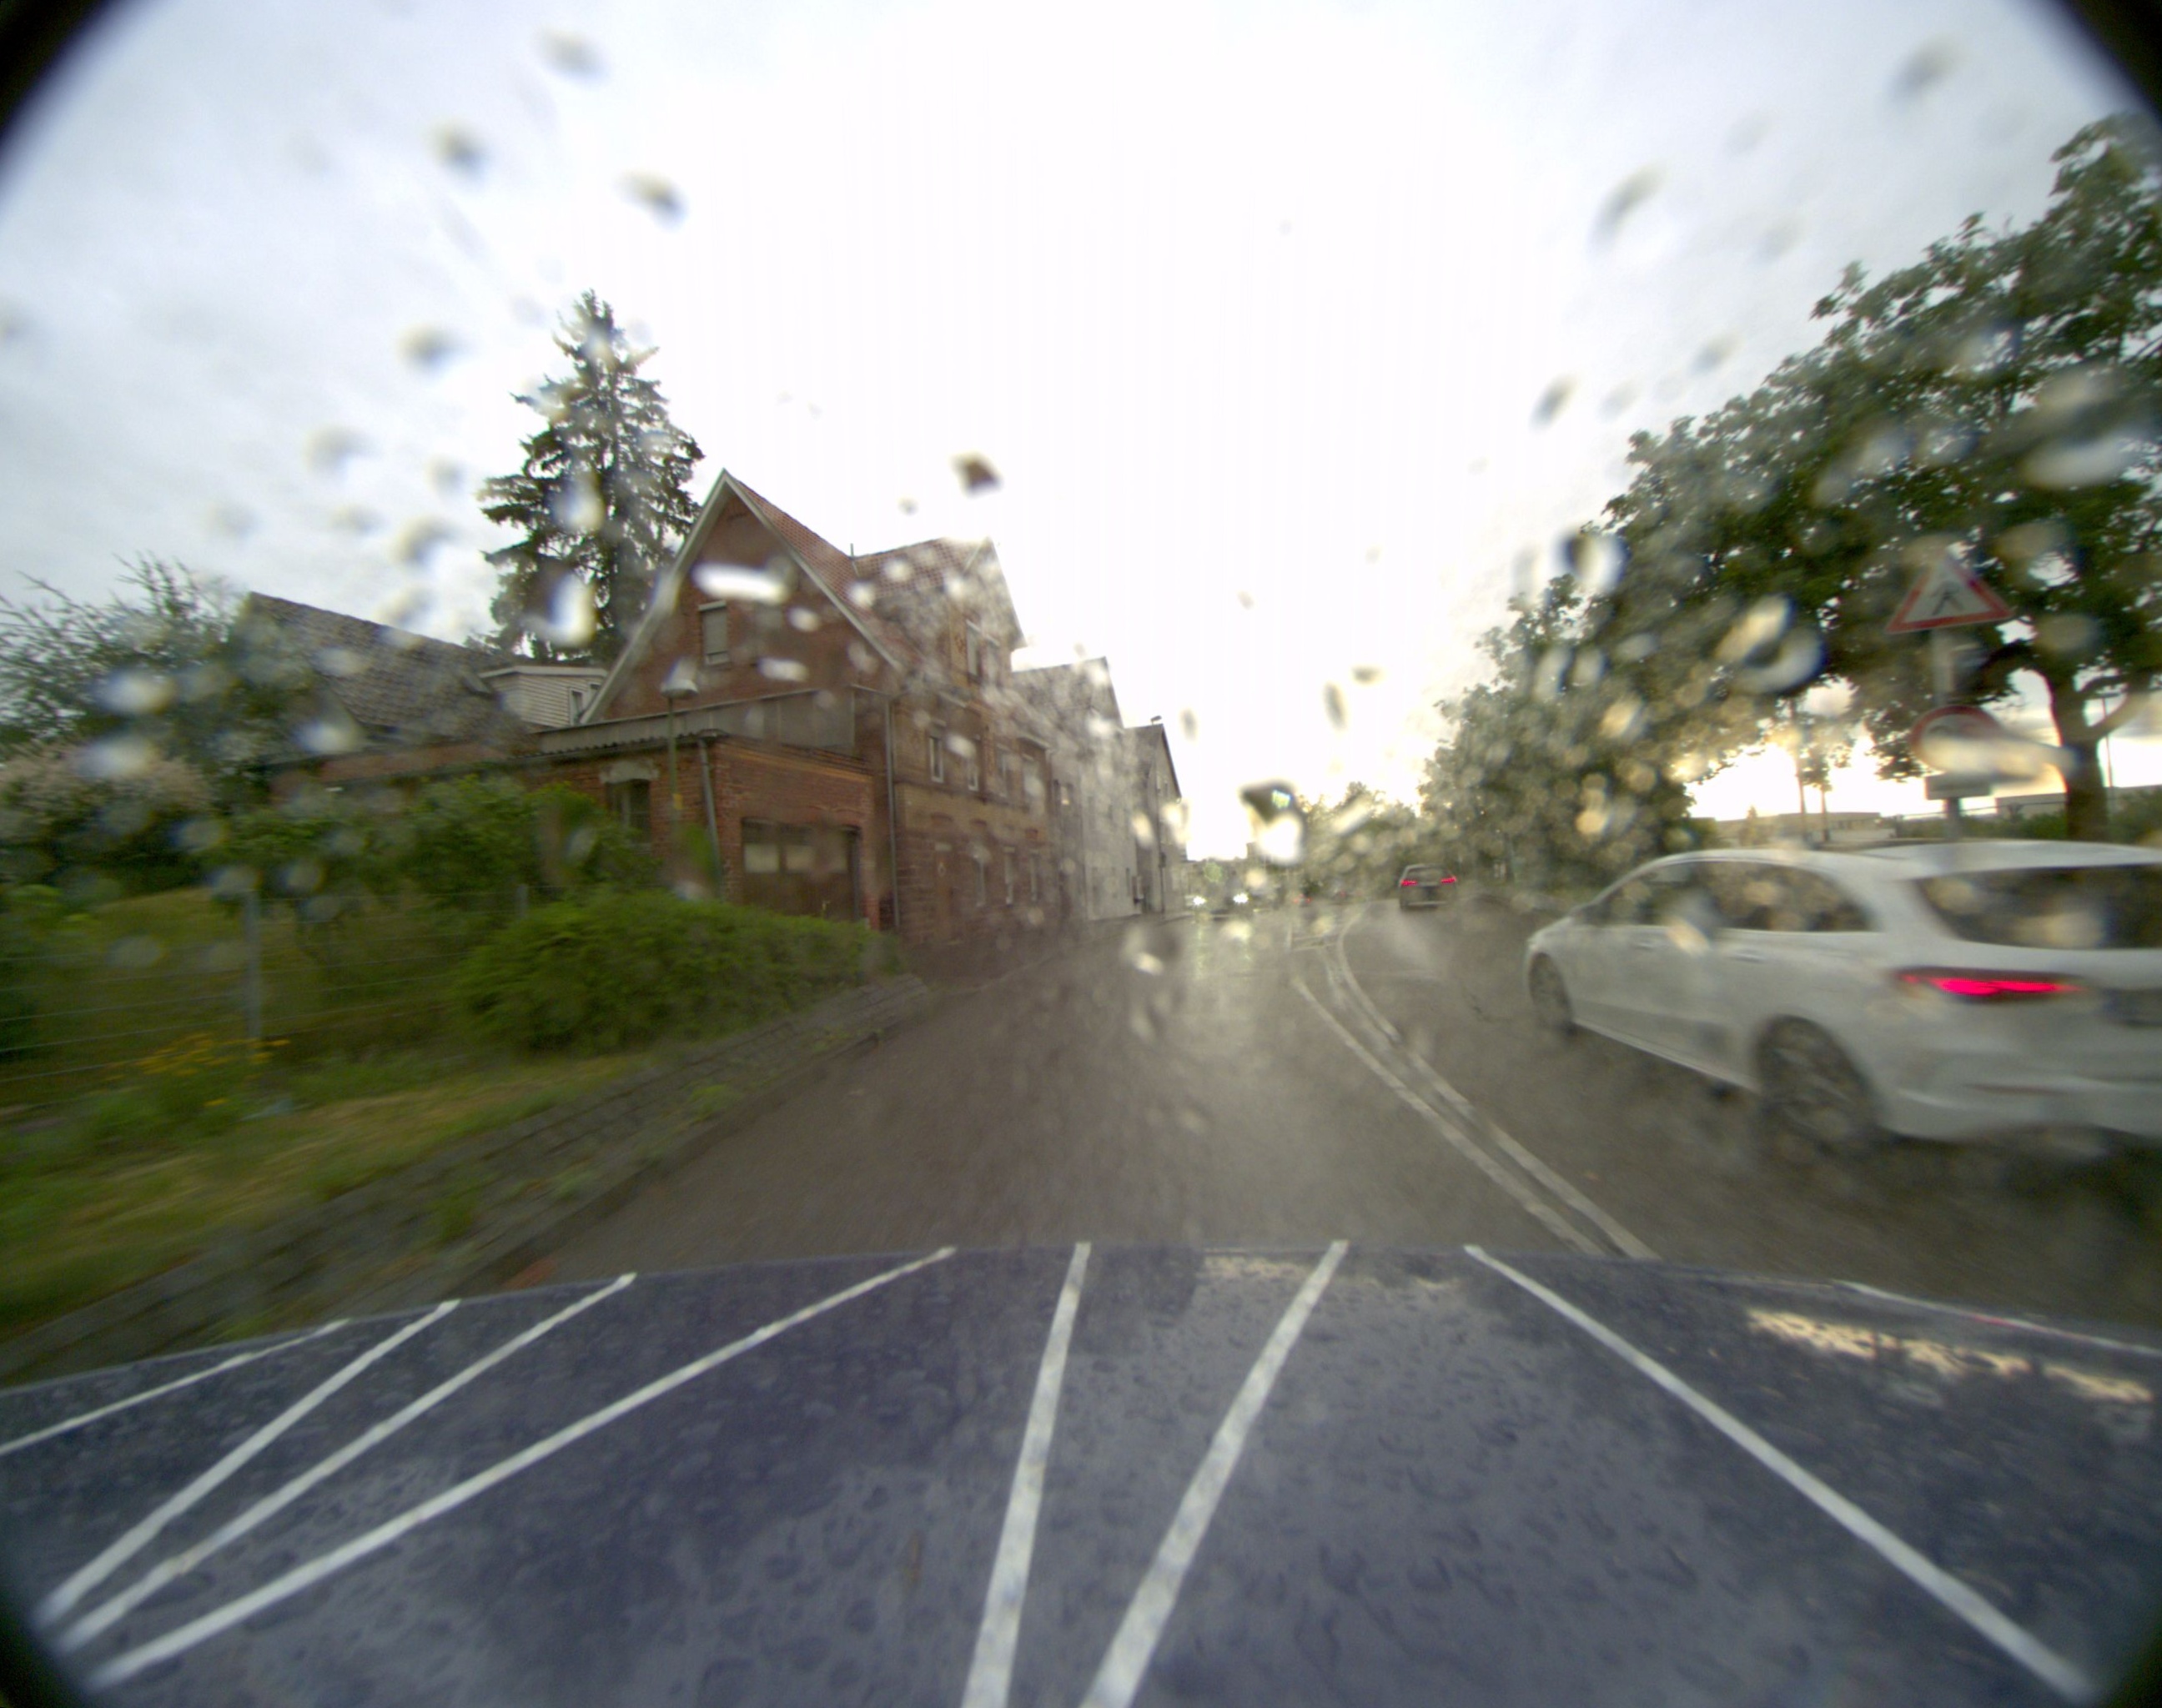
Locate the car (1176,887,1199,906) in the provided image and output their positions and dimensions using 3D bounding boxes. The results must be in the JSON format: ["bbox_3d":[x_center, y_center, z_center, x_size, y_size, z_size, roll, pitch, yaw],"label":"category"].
[{"bbox_3d":[12.748,5.136,91.082,2.030,1.923,4.950,-4,-5,1],"label":"car"}]

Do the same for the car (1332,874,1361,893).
[{"bbox_3d":[22.768,2.537,65.228,1.643,1.511,4.076,-4,-3,11],"label":"car"}]

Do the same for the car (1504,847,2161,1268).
[{"bbox_3d":[4.517,0.738,4.801,1.727,1.496,4.261,-1,0,7],"label":"car"}]

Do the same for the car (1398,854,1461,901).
[{"bbox_3d":[11.801,0.752,25.794,1.737,1.402,4.061,-4,-1,24],"label":"car"}]

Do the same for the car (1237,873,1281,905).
[{"bbox_3d":[8.723,1.757,37.050,1.788,1.338,4.954,-5,-5,15],"label":"car"}]

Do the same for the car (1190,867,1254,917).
[{"bbox_3d":[5.291,1.381,28.005,1.836,1.504,4.855,-6,-3,14],"label":"car"}]

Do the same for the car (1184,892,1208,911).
[{"bbox_3d":[11.625,4.871,77.072,1.900,1.711,4.469,-4,-5,3],"label":"car"}]

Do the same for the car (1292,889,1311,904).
[{"bbox_3d":[25.516,4.871,88.008,1.647,1.541,4.161,-7,-4,11],"label":"car"}]
